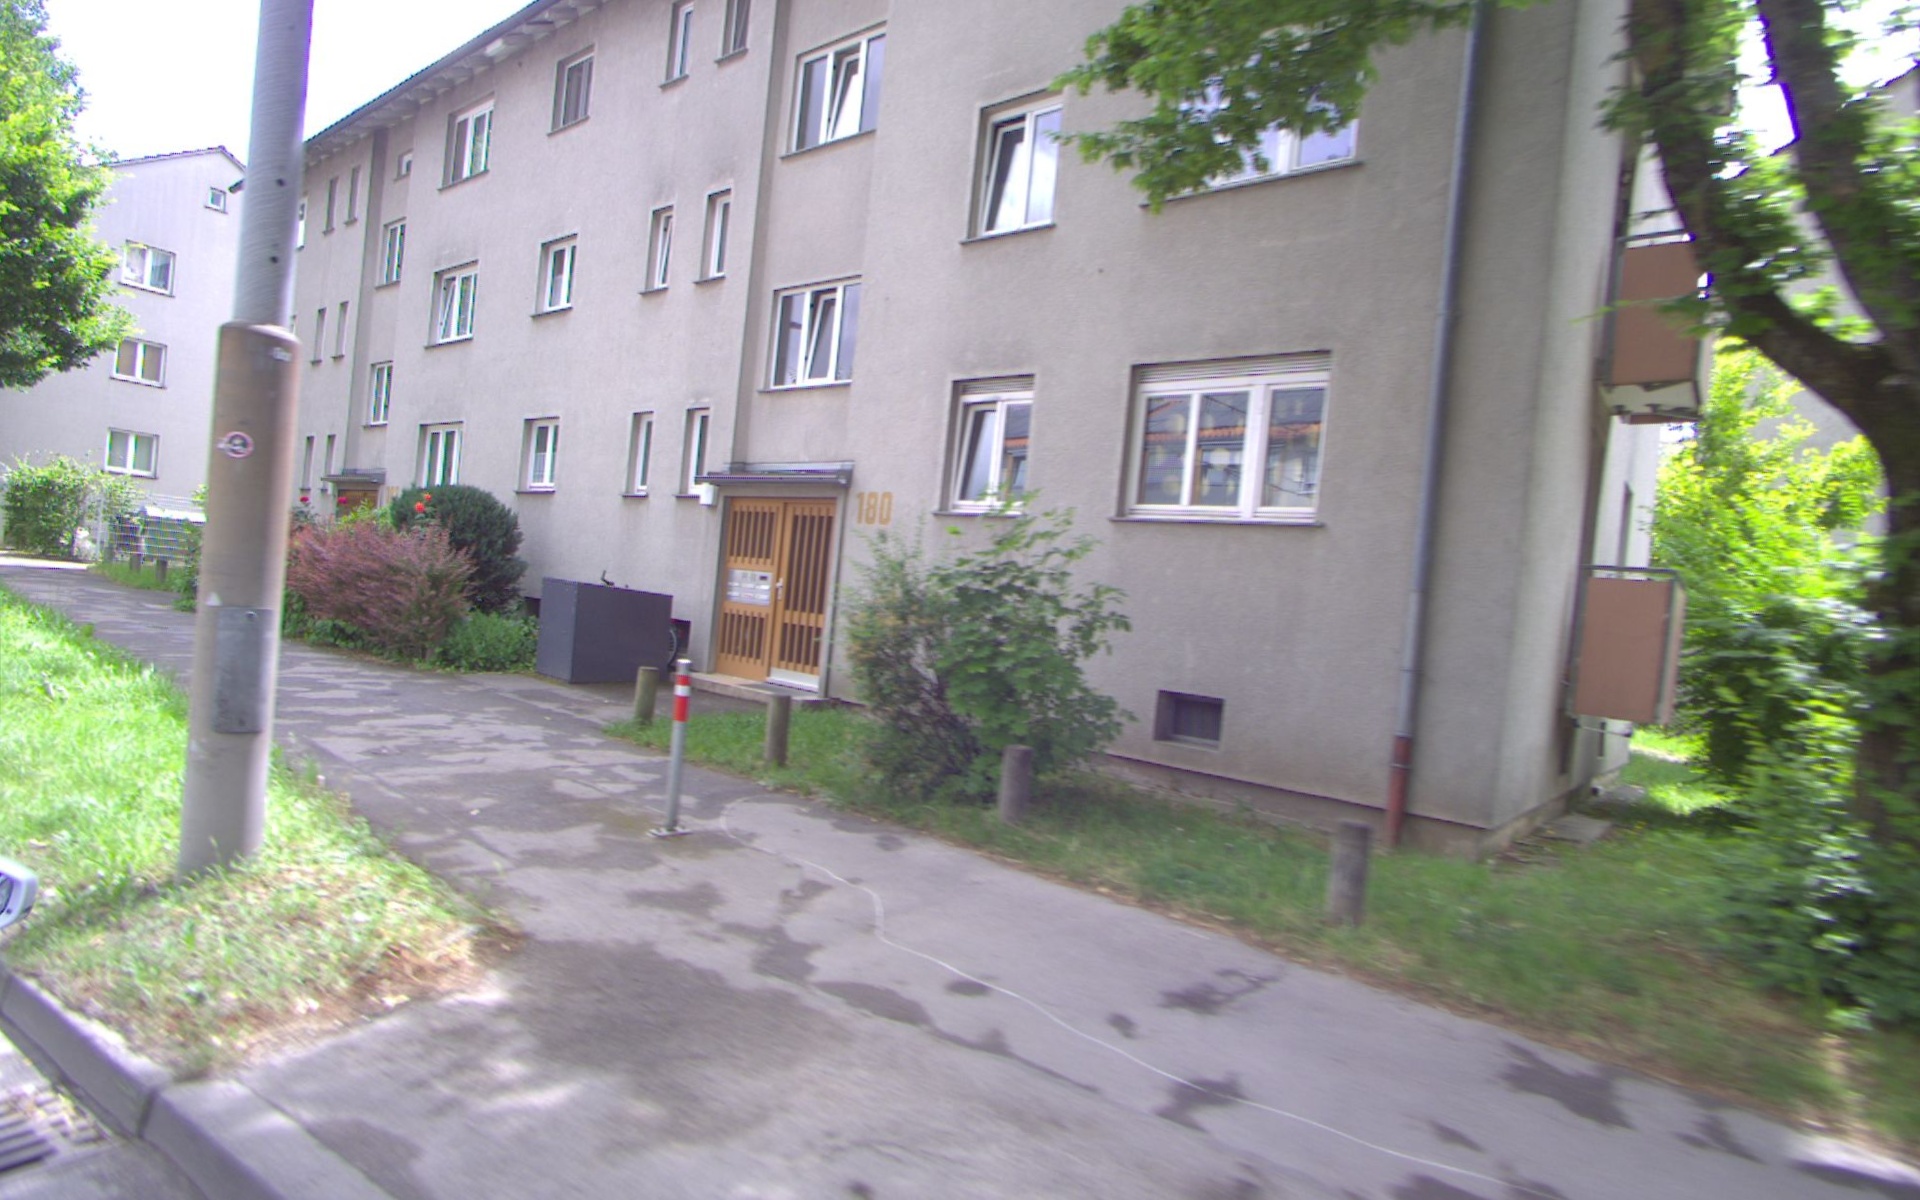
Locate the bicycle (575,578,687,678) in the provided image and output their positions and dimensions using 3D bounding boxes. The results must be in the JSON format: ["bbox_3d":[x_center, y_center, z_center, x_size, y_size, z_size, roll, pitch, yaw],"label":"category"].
[{"bbox_3d":[-4.037,0.332,12.278,1.548,1.046,0.478,7,2,40],"label":"bicycle"}]

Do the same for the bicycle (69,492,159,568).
[{"bbox_3d":[-20.262,-1.664,24.114,1.055,1.594,1.347,7,1,36],"label":"bicycle"}]
